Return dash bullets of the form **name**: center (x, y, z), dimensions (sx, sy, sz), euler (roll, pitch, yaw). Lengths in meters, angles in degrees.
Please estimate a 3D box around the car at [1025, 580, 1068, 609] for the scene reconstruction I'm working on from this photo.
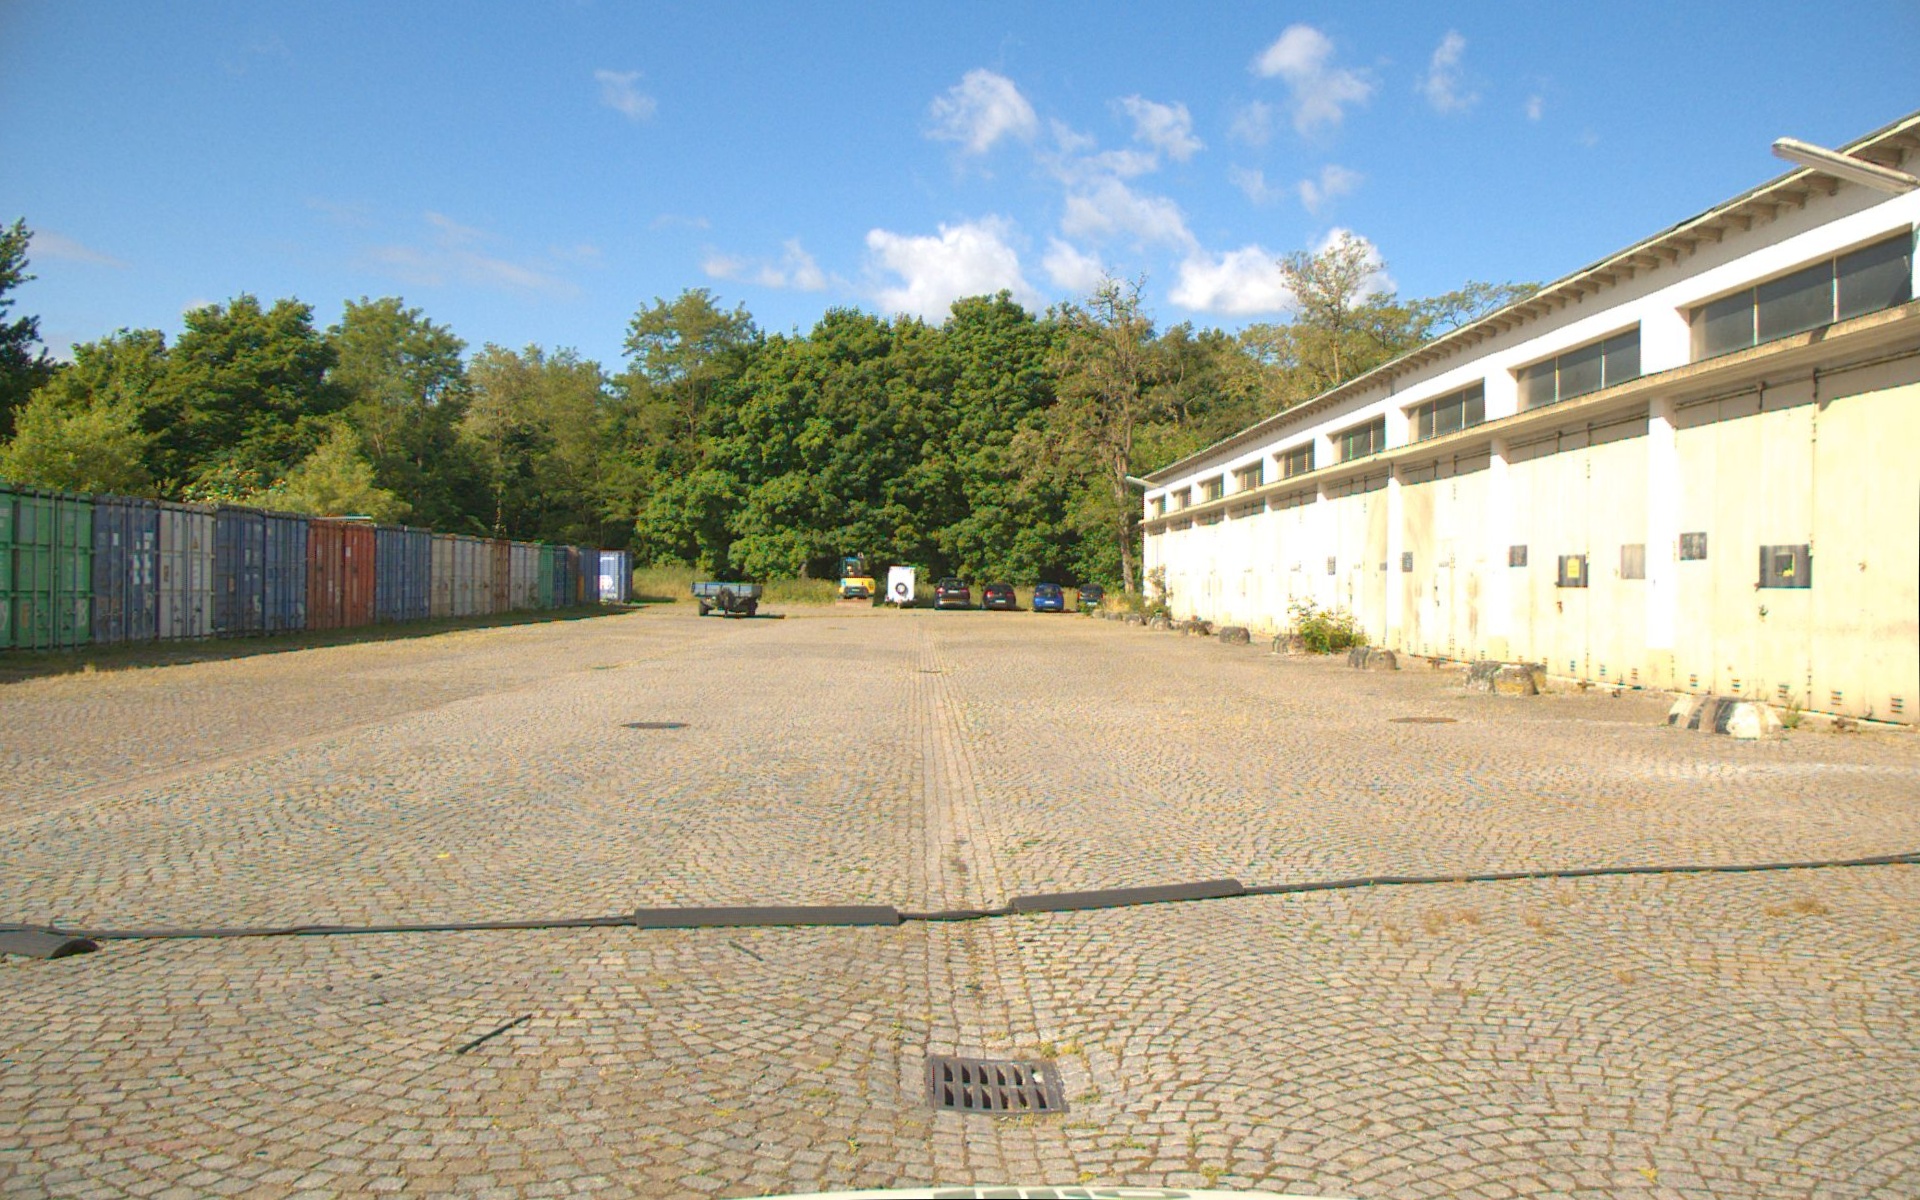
- **car**: center (4.518, -0.314, 86.908), dimensions (1.953, 1.491, 3.999), euler (1, 1, -2)

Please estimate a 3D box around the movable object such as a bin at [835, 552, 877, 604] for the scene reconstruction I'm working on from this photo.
- **movable object such as a bin**: center (-5.560, -1.170, 88.208), dimensions (2.188, 2.703, 3.997), euler (1, 1, -4)

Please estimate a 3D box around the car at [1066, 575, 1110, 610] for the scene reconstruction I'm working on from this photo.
- **car**: center (6.799, -0.420, 88.226), dimensions (1.953, 1.803, 3.999), euler (1, 1, -2)

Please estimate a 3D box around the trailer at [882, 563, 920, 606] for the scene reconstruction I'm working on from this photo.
- **trailer**: center (-3.131, -0.839, 87.531), dimensions (1.953, 2.200, 4.430), euler (1, 1, -2)

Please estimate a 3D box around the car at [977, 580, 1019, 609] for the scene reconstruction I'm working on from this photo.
- **car**: center (1.978, -0.307, 86.837), dimensions (1.953, 1.449, 3.999), euler (1, 1, -2)

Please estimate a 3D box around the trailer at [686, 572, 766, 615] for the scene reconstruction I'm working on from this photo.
- **trailer**: center (-9.643, -0.282, 68.765), dimensions (2.735, 1.675, 5.618), euler (1, 0, -3)

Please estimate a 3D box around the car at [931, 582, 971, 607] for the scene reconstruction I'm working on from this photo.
- **car**: center (-0.488, -0.309, 86.385), dimensions (1.953, 1.280, 3.999), euler (1, 1, -2)
